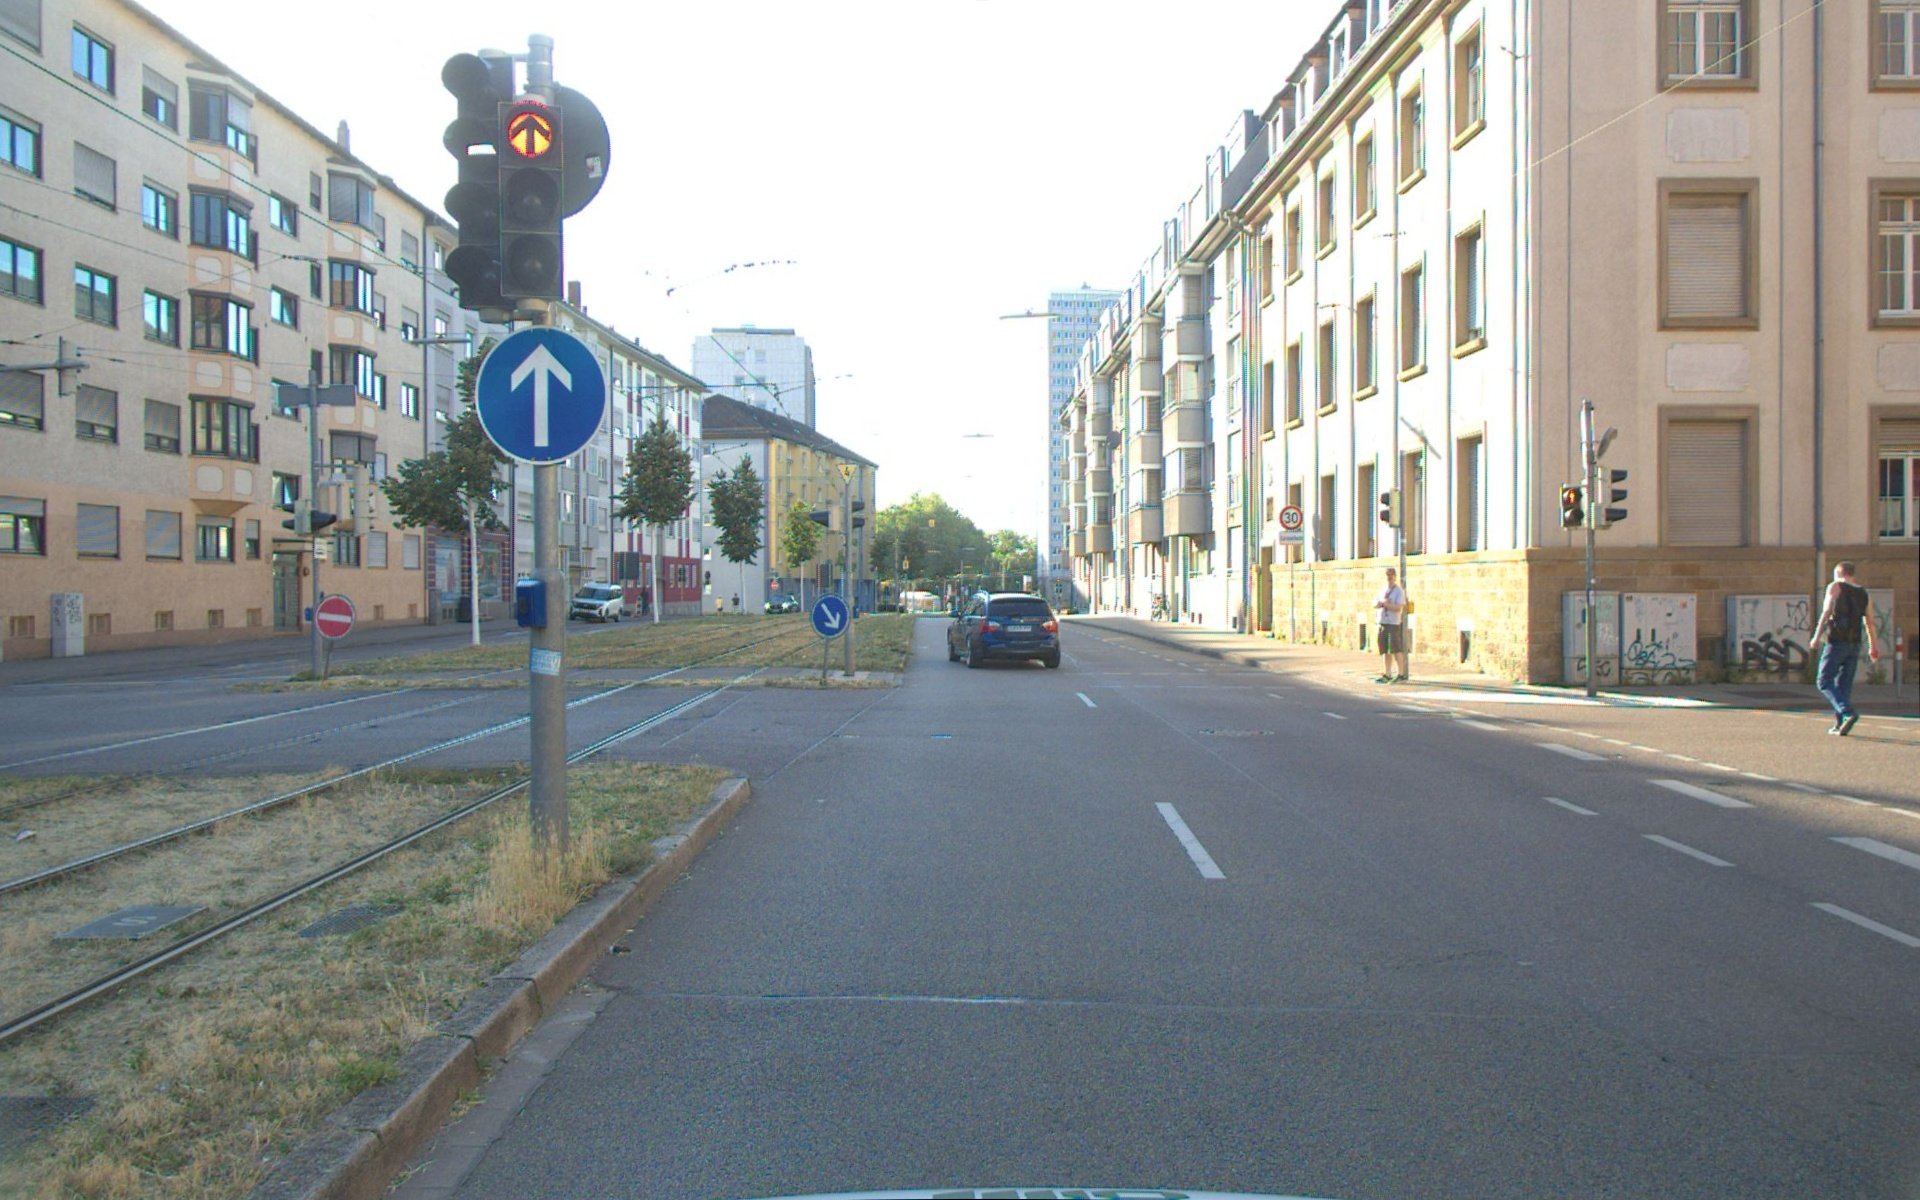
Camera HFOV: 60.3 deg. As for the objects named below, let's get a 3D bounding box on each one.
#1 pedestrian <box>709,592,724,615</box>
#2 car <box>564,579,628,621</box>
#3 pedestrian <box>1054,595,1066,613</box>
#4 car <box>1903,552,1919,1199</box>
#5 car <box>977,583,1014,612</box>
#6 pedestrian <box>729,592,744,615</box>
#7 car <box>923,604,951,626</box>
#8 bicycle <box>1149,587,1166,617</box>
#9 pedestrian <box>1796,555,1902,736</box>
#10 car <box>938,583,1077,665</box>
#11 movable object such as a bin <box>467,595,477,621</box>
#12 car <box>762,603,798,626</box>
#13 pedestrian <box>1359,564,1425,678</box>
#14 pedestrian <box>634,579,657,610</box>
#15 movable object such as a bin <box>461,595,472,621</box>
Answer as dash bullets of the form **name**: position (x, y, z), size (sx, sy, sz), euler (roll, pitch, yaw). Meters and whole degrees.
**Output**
- **pedestrian**: position (-18.180, 0.245, 123.480), size (0.942, 1.723, 1.011), euler (1, 0, 4)
- **car**: position (-17.850, 0.007, 81.281), size (1.952, 1.958, 4.543), euler (1, 0, 3)
- **pedestrian**: position (6.773, 0.274, 112.036), size (0.677, 1.256, 0.736), euler (1, 0, -1)
- **car**: position (2.879, 0.723, 1.424), size (1.663, 1.580, 4.225), euler (1, 0, -1)
- **car**: position (1.985, -0.135, 93.696), size (1.953, 1.591, 3.999), euler (1, 0, -1)
- **pedestrian**: position (-16.821, 0.246, 124.431), size (0.942, 1.699, 1.011), euler (1, 0, 4)
- **car**: position (-1.699, 1.087, 121.411), size (1.953, 1.581, 4.392), euler (1, 0, -2)
- **bicycle**: position (7.409, 0.084, 62.102), size (0.376, 1.115, 1.503), euler (-1, 0, -3)
- **pedestrian**: position (9.071, 0.457, 16.894), size (0.616, 1.789, 0.825), euler (1, -1, -1)
- **car**: position (0.856, 0.446, 32.689), size (1.891, 1.481, 4.316), euler (1, 0, -11)
- **movable object such as a bin**: position (-20.213, 0.337, 68.520), size (0.292, 1.054, 0.441), euler (1, -1, -2)
- **car**: position (-13.258, 1.041, 121.953), size (1.857, 1.662, 4.749), euler (-1, 0, 3)
- **pedestrian**: position (6.902, 0.332, 26.471), size (0.818, 1.793, 0.824), euler (1, -1, -1)
- **pedestrian**: position (-18.666, -0.336, 98.141), size (1.246, 1.791, 1.271), euler (1, 0, -10)
- **movable object such as a bin**: position (-20.279, 0.345, 67.908), size (0.292, 1.054, 0.441), euler (1, -1, 1)
